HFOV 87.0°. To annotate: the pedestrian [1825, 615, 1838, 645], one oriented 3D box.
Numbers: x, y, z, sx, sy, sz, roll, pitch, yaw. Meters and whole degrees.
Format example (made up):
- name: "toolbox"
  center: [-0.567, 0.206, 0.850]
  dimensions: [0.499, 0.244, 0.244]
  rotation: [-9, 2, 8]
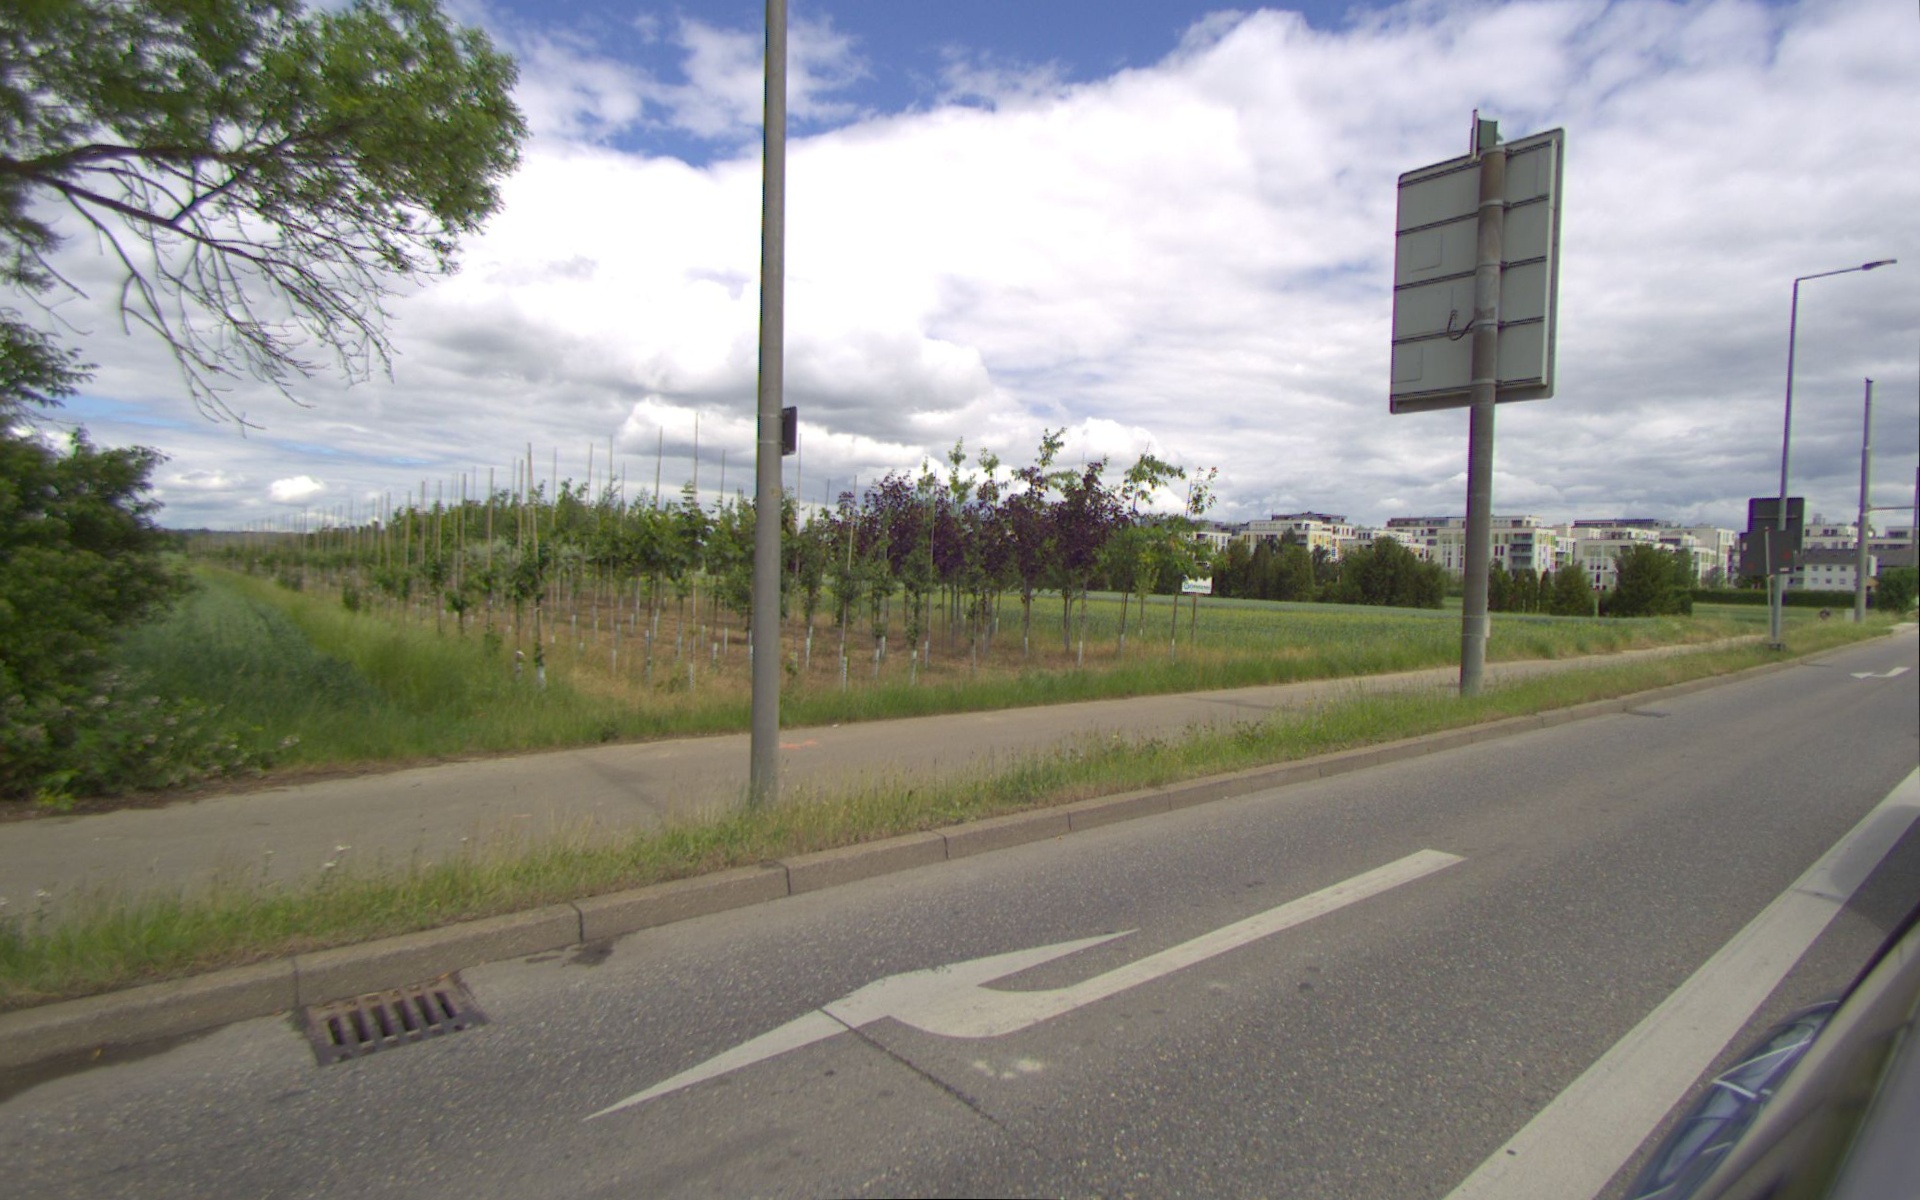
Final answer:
- name: "pedestrian"
  center: [50.067, 1.730, 58.132]
  dimensions: [0.615, 1.724, 0.492]
  rotation: [0, 0, -42]
